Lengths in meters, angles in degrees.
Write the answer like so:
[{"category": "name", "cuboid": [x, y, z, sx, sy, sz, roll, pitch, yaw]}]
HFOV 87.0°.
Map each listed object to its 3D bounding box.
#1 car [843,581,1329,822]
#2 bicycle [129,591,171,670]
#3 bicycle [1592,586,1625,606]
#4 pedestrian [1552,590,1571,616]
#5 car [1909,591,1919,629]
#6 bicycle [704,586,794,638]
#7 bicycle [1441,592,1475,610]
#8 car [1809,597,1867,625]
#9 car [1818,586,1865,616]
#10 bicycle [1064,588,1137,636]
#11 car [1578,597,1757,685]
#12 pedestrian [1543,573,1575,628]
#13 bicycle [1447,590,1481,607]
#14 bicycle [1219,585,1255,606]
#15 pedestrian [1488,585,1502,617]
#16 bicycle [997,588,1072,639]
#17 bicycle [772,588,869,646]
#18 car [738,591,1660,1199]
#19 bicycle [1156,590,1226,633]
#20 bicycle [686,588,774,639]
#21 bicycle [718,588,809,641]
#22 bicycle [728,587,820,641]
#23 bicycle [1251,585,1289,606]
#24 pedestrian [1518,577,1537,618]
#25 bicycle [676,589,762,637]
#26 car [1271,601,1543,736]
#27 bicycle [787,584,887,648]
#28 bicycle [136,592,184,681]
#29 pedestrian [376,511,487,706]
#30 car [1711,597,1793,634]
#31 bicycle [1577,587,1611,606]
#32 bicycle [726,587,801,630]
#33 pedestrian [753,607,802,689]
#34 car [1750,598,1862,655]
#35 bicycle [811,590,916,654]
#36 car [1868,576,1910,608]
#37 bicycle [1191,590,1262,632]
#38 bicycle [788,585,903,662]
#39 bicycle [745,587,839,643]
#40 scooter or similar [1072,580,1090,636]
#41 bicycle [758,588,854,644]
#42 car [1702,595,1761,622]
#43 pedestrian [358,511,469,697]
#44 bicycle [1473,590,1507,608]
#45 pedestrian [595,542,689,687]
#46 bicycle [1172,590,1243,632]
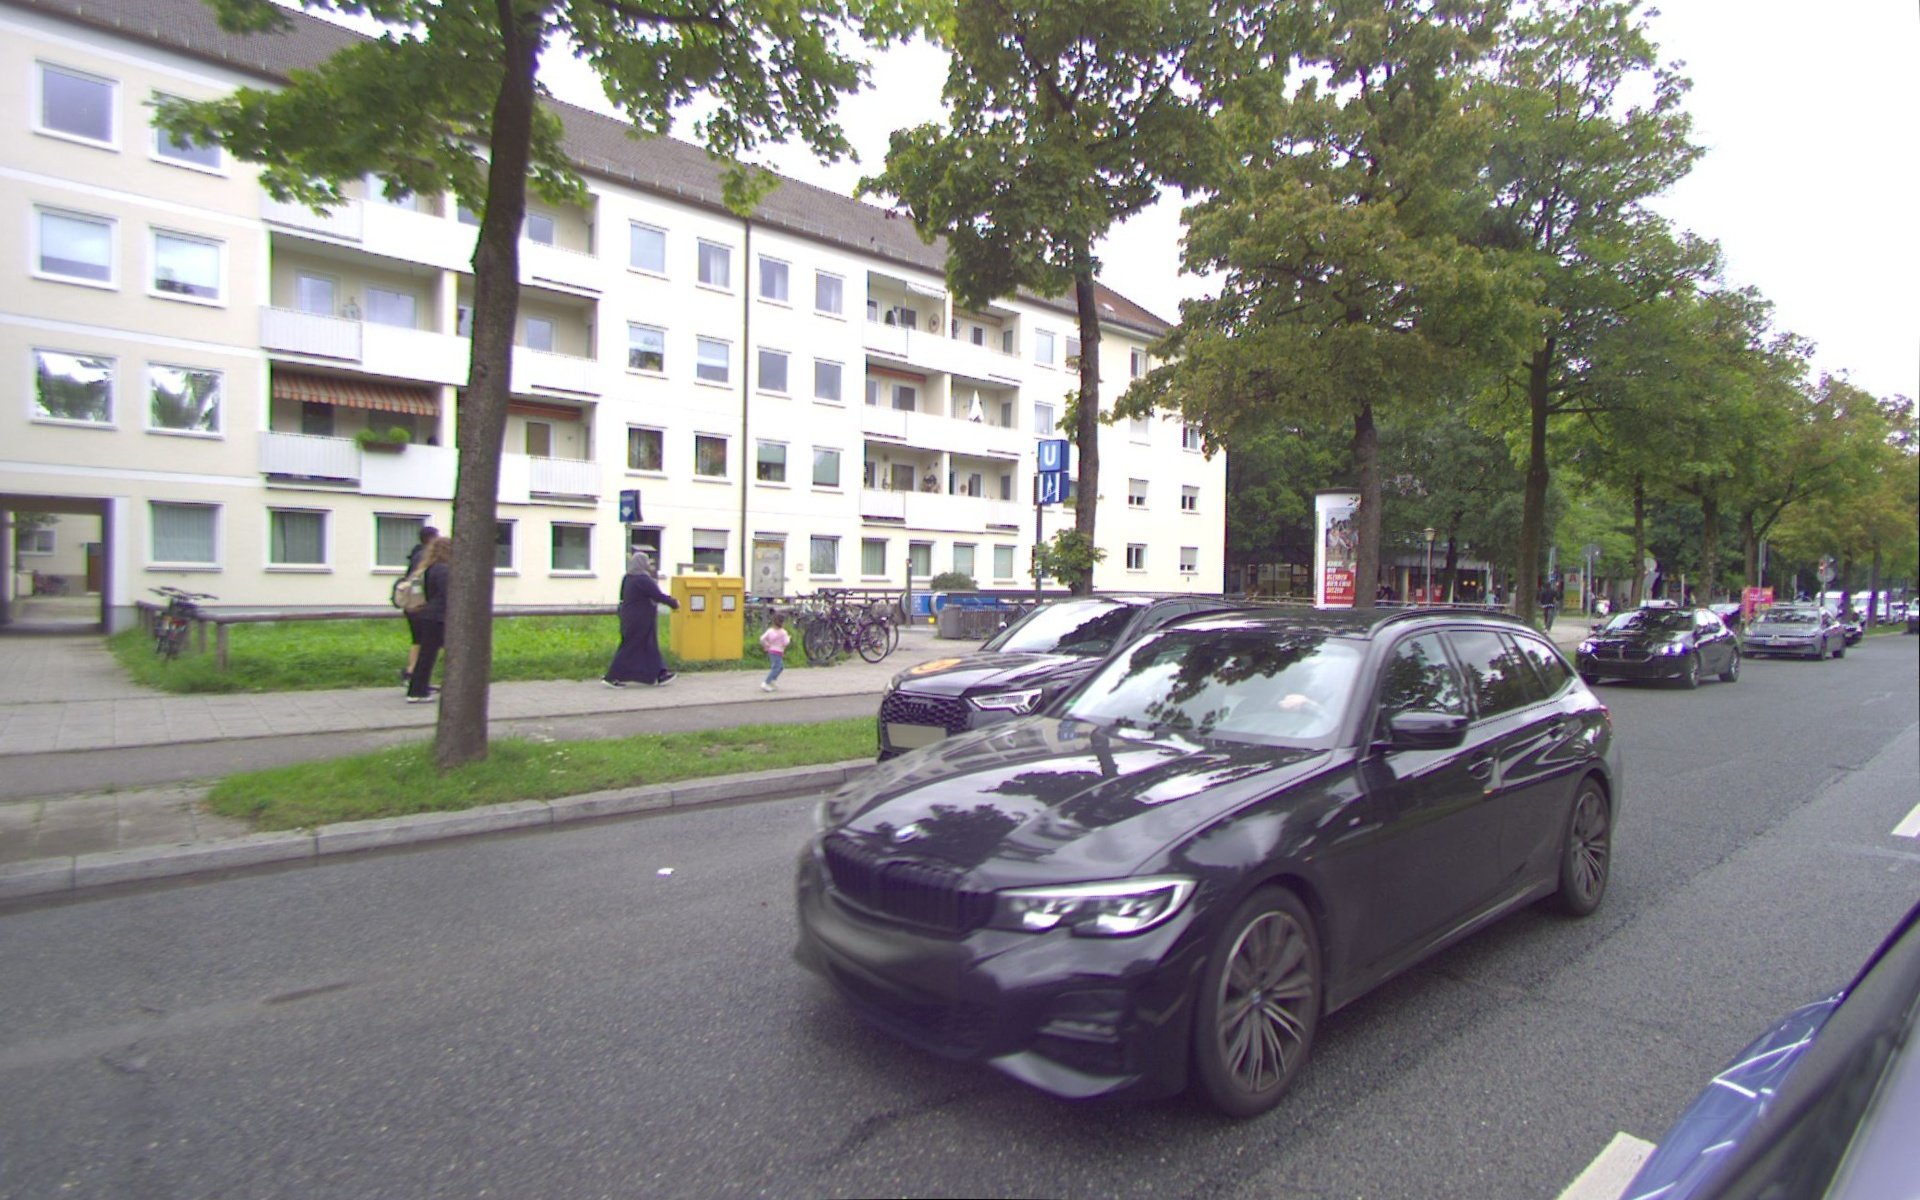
[{"category": "car", "cuboid": [1.233, 0.657, 8.539, 4.200, 1.552, 1.719, 0, 0, -41]}, {"category": "bicycle", "cuboid": [-10.931, 0.379, 13.667, 0.425, 0.986, 1.882, 0, 0, -39]}, {"category": "bicycle", "cuboid": [55.450, -0.372, 86.548, 0.638, 1.643, 2.312, 1, 1, -40]}, {"category": "pedestrian", "cuboid": [36.878, 0.176, 62.003, 0.738, 1.614, 0.660, 1, 0, -22]}, {"category": "car", "cuboid": [51.455, 0.494, 53.123, 4.847, 1.952, 1.884, 0, 0, -41]}, {"category": "bicycle", "cuboid": [-4.413, 0.244, 21.228, 1.850, 1.041, 0.432, 0, 2, -40]}, {"category": "bicycle", "cuboid": [33.943, 0.054, 68.990, 0.447, 1.134, 2.079, 1, 1, -40]}, {"category": "car", "cuboid": [46.883, 0.545, 54.022, 4.609, 1.450, 1.730, 0, 0, -41]}, {"category": "car", "cuboid": [77.808, 0.084, 89.303, 5.755, 2.560, 2.267, 0, 1, -41]}, {"category": "bicycle", "cuboid": [3.360, 0.270, 24.344, 0.425, 1.041, 1.880, 0, 2, -43]}, {"category": "car", "cuboid": [13.335, 0.690, 18.996, 4.101, 1.484, 1.754, 0, 0, -40]}, {"category": "pedestrian", "cuboid": [20.040, 0.014, 33.869, 0.835, 1.771, 0.640, 1, 2, -43]}, {"category": "bicycle", "cuboid": [33.912, -0.109, 68.115, 0.447, 1.134, 2.079, 1, 1, -40]}, {"category": "bicycle", "cuboid": [13.551, -0.237, 49.595, 0.448, 0.983, 1.693, 1, 1, -44]}, {"category": "pedestrian", "cuboid": [27.046, 0.042, 51.146, 0.574, 1.594, 0.774, 0, 0, 26]}, {"category": "bicycle", "cuboid": [1.655, 0.289, 22.689, 0.425, 1.041, 1.880, 0, 2, -43]}, {"category": "bicycle", "cuboid": [-2.612, 0.313, 19.104, 1.850, 1.041, 0.432, 0, 2, -40]}, {"category": "car", "cuboid": [1.408, 0.701, 4.482, 4.384, 1.431, 1.761, 0, 0, -41]}, {"category": "bicycle", "cuboid": [6.073, 0.284, 26.695, 0.425, 1.041, 1.880, 0, 2, -43]}, {"category": "bicycle", "cuboid": [-4.921, 0.292, 21.744, 1.850, 1.041, 0.432, 0, 2, -40]}, {"category": "bicycle", "cuboid": [-4.035, 0.286, 20.904, 1.850, 1.041, 0.432, 0, 2, -40]}, {"category": "bicycle", "cuboid": [-3.753, 0.273, 20.501, 1.850, 1.041, 0.432, 0, 2, -40]}, {"category": "bicycle", "cuboid": [14.801, -0.216, 48.321, 0.448, 0.983, 1.693, 1, 1, -44]}, {"category": "pedestrian", "cuboid": [24.800, -0.114, 44.235, 0.632, 1.752, 0.598, 0, 0, 17]}, {"category": "bicycle", "cuboid": [-5.355, 0.283, 22.596, 1.850, 1.041, 0.432, 0, 2, -40]}, {"category": "car", "cuboid": [5.653, 0.715, 12.549, 4.173, 1.403, 1.637, 0, 0, -44]}, {"category": "bicycle", "cuboid": [-2.232, 0.286, 18.503, 1.850, 1.115, 0.432, 1, 1, -40]}, {"category": "bicycle", "cuboid": [-9.606, 0.403, 12.152, 0.425, 0.986, 1.882, 0, 0, -39]}, {"category": "pedestrian", "cuboid": [-5.443, 0.070, 10.423, 0.886, 1.913, 0.589, 0, 1, -42]}, {"category": "car", "cuboid": [32.047, 0.596, 40.900, 4.273, 1.397, 1.725, 0, 0, -39]}, {"category": "bicycle", "cuboid": [53.534, -0.314, 85.505, 0.638, 1.551, 2.312, 1, 1, -40]}, {"category": "bicycle", "cuboid": [-4.912, 0.209, 25.373, 1.850, 1.041, 0.432, 0, 2, -40]}, {"category": "pedestrian", "cuboid": [-2.246, 0.579, 12.448, 0.427, 0.961, 0.408, 0, 1, -42]}, {"category": "car", "cuboid": [23.540, 0.690, 28.117, 4.041, 1.484, 1.685, 0, 0, -40]}, {"category": "bicycle", "cuboid": [-1.640, 0.368, 17.388, 1.850, 1.041, 0.432, 0, 2, -40]}, {"category": "car", "cuboid": [79.246, -0.637, 86.294, 5.901, 2.691, 1.976, 0, -1, -41]}, {"category": "bicycle", "cuboid": [7.220, 0.280, 27.503, 1.877, 1.041, 0.426, 3, 2, 42]}, {"category": "bicycle", "cuboid": [-1.781, 0.363, 15.986, 1.850, 1.147, 0.432, 1, 1, -40]}, {"category": "bicycle", "cuboid": [-3.287, 0.282, 19.888, 1.850, 1.041, 0.432, 0, 2, -40]}, {"category": "scooter or similar", "cuboid": [2.714, 0.160, 22.766, 0.352, 1.215, 1.388, 1, 2, 7]}, {"category": "bicycle", "cuboid": [-2.954, 0.300, 19.536, 1.850, 1.041, 0.432, 0, 2, -40]}, {"category": "car", "cuboid": [47.438, 0.506, 62.199, 4.519, 1.550, 1.826, 0, 2, -39]}, {"category": "pedestrian", "cuboid": [-5.906, 0.027, 10.938, 0.903, 1.913, 0.730, 0, 2, -42]}, {"category": "bicycle", "cuboid": [36.553, -0.068, 69.832, 0.447, 1.134, 2.079, 1, 1, -40]}, {"category": "pedestrian", "cuboid": [-3.903, 0.156, 12.426, 0.820, 1.702, 0.840, 0, 1, -42]}, {"category": "bicycle", "cuboid": [6.657, 0.276, 27.320, 1.878, 1.041, 0.426, 3, 2, 44]}]
